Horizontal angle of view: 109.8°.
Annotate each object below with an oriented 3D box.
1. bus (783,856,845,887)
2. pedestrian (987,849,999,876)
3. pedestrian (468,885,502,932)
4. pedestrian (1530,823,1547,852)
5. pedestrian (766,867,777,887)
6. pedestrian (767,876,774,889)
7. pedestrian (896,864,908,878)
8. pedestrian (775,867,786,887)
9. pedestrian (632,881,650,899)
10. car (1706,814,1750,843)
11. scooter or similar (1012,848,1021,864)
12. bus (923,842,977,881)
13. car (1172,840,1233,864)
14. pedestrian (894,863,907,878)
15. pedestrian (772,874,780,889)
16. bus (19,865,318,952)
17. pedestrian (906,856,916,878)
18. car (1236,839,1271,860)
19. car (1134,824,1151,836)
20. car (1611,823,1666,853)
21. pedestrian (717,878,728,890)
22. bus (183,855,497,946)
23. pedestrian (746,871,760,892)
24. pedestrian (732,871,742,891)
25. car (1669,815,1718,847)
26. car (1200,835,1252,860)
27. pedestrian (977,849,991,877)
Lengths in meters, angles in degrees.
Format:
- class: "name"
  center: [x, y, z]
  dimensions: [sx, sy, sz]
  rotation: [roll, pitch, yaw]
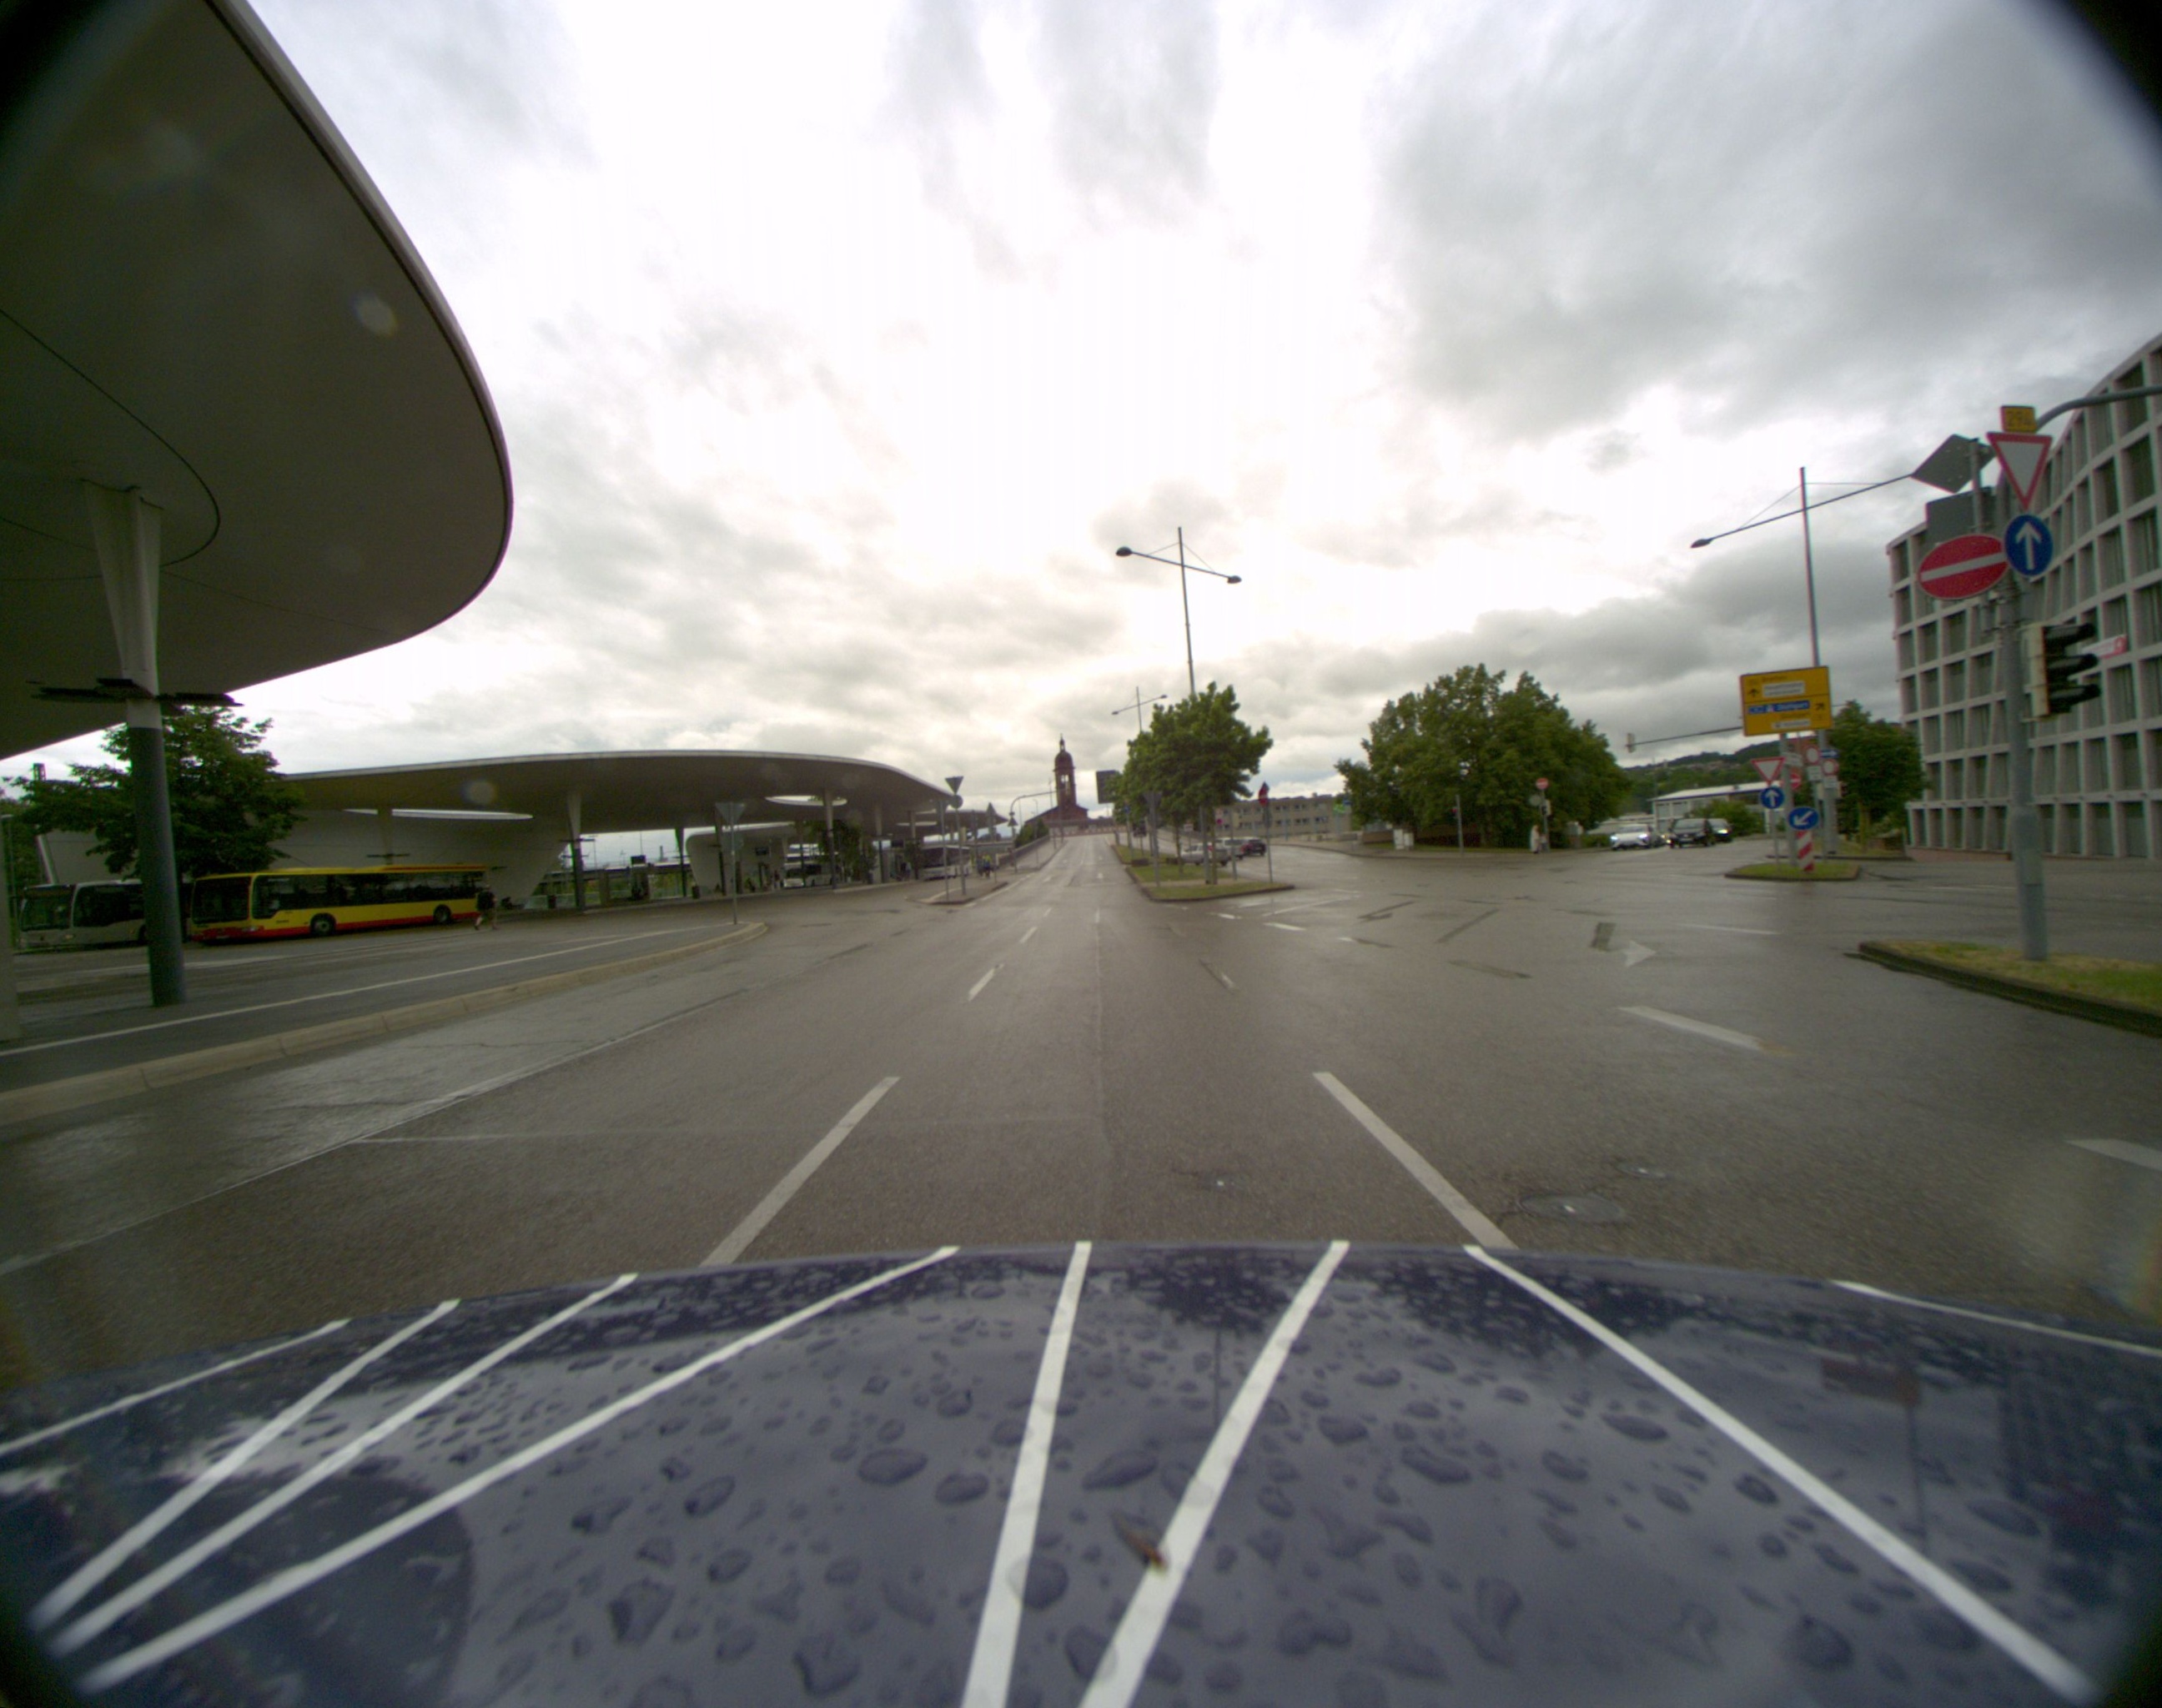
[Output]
- class: "bus"
  center: [-32.416, 1.983, 92.973]
  dimensions: [2.795, 3.238, 12.140]
  rotation: [-4, 1, 1]
- class: "pedestrian"
  center: [-5.587, 0.529, 48.024]
  dimensions: [0.523, 1.661, 0.580]
  rotation: [-5, 4, 1]
- class: "pedestrian"
  center: [-22.495, 2.021, 28.684]
  dimensions: [0.720, 1.674, 1.019]
  rotation: [-2, 1, -24]
- class: "pedestrian"
  center: [25.963, -0.938, 43.105]
  dimensions: [0.652, 1.562, 0.631]
  rotation: [-1, 3, 15]
- class: "pedestrian"
  center: [-25.991, 1.950, 63.899]
  dimensions: [0.570, 1.645, 0.557]
  rotation: [-3, 1, 7]
- class: "pedestrian"
  center: [-25.509, 2.353, 62.427]
  dimensions: [0.391, 1.075, 0.352]
  rotation: [-2, 1, 43]
- class: "pedestrian"
  center: [-15.332, 1.455, 65.041]
  dimensions: [0.954, 1.247, 0.648]
  rotation: [-1, -1, -22]
- class: "pedestrian"
  center: [-25.735, 1.948, 65.026]
  dimensions: [0.644, 1.645, 0.638]
  rotation: [-4, 1, -38]
- class: "pedestrian"
  center: [-35.401, 2.902, 61.184]
  dimensions: [0.710, 1.318, 0.801]
  rotation: [-7, 4, 9]
- class: "car"
  center: [38.917, -1.547, 45.701]
  dimensions: [1.723, 1.559, 3.845]
  rotation: [-3, 1, 44]
- class: "scooter or similar"
  center: [-5.115, 0.139, 60.609]
  dimensions: [0.465, 1.214, 1.859]
  rotation: [-4, 1, 1]
- class: "bus"
  center: [-12.613, 0.635, 74.479]
  dimensions: [2.852, 3.342, 12.425]
  rotation: [-2, 0, 1]
- class: "car"
  center: [7.676, -0.122, 48.245]
  dimensions: [1.639, 1.440, 3.866]
  rotation: [-3, 2, -32]
- class: "pedestrian"
  center: [-15.593, 1.461, 65.667]
  dimensions: [0.954, 1.247, 0.648]
  rotation: [-1, -1, -22]
- class: "pedestrian"
  center: [-25.134, 2.262, 62.580]
  dimensions: [0.395, 1.138, 0.364]
  rotation: [-2, 1, 43]
- class: "bus"
  center: [-43.760, 2.394, 37.243]
  dimensions: [2.521, 3.380, 9.856]
  rotation: [-3, 0, 0]
- class: "pedestrian"
  center: [-14.660, 1.120, 65.497]
  dimensions: [0.585, 1.875, 0.649]
  rotation: [-2, -1, 11]
- class: "car"
  center: [13.801, -0.379, 61.156]
  dimensions: [1.851, 1.495, 4.919]
  rotation: [-4, 1, 3]
- class: "car"
  center: [9.143, -3.601, 113.128]
  dimensions: [1.913, 1.653, 4.854]
  rotation: [-4, 3, -2]
- class: "car"
  center: [32.786, -0.955, 44.653]
  dimensions: [4.148, 1.559, 1.883]
  rotation: [-4, 1, -44]
- class: "pedestrian"
  center: [-45.434, 3.820, 96.363]
  dimensions: [0.800, 1.318, 0.711]
  rotation: [-7, 4, 7]
- class: "bus"
  center: [-33.801, 1.852, 35.963]
  dimensions: [2.795, 3.238, 12.139]
  rotation: [-4, 1, 0]
- class: "pedestrian"
  center: [-25.923, 2.176, 60.047]
  dimensions: [0.590, 1.581, 0.677]
  rotation: [-7, 4, -2]
- class: "pedestrian"
  center: [-26.276, 2.094, 58.004]
  dimensions: [0.522, 1.493, 0.381]
  rotation: [-4, 2, -38]
- class: "car"
  center: [33.552, -1.286, 41.587]
  dimensions: [1.723, 1.559, 3.845]
  rotation: [-3, 1, 44]
- class: "car"
  center: [10.712, -0.452, 56.407]
  dimensions: [1.854, 1.643, 4.413]
  rotation: [-4, 1, -16]
- class: "pedestrian"
  center: [-6.132, 0.562, 48.072]
  dimensions: [0.590, 1.662, 0.580]
  rotation: [-6, 5, 1]
